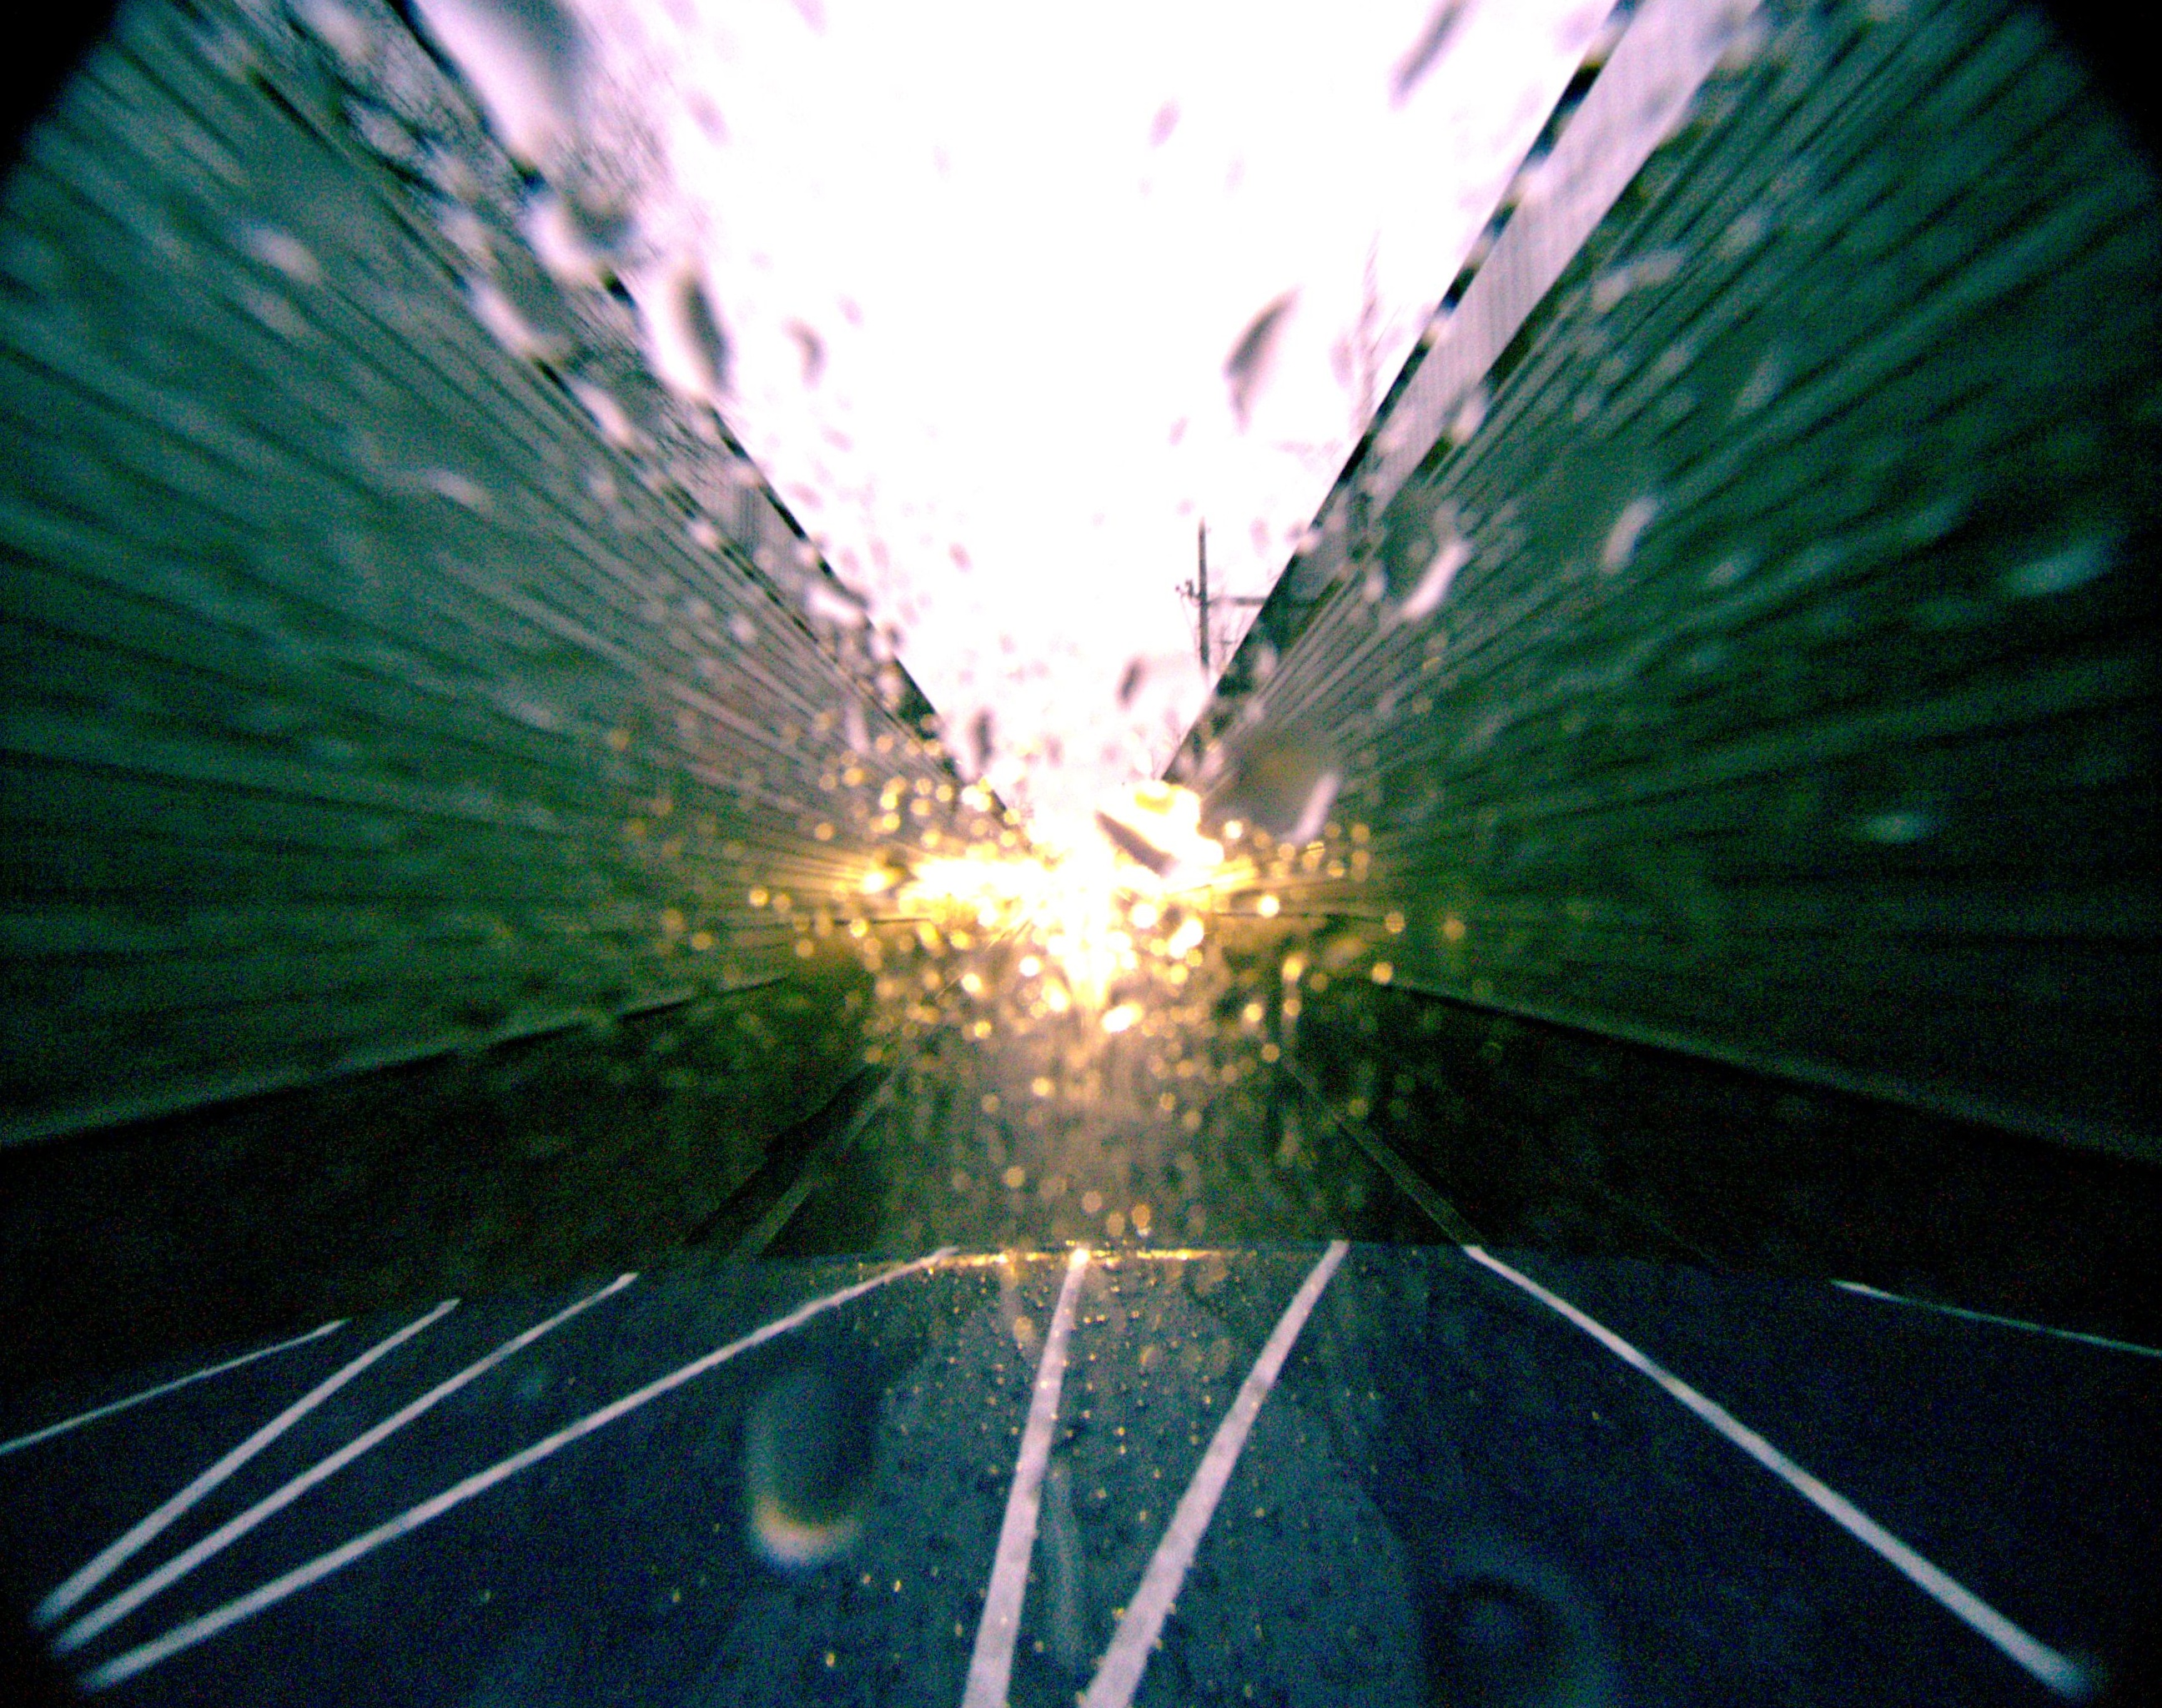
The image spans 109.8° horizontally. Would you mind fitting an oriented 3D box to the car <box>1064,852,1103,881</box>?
[{"bbox_3d":[0.200,0.800,44.956,2.160,1.488,4.010,-2,-3,1],"label":"car"}]
